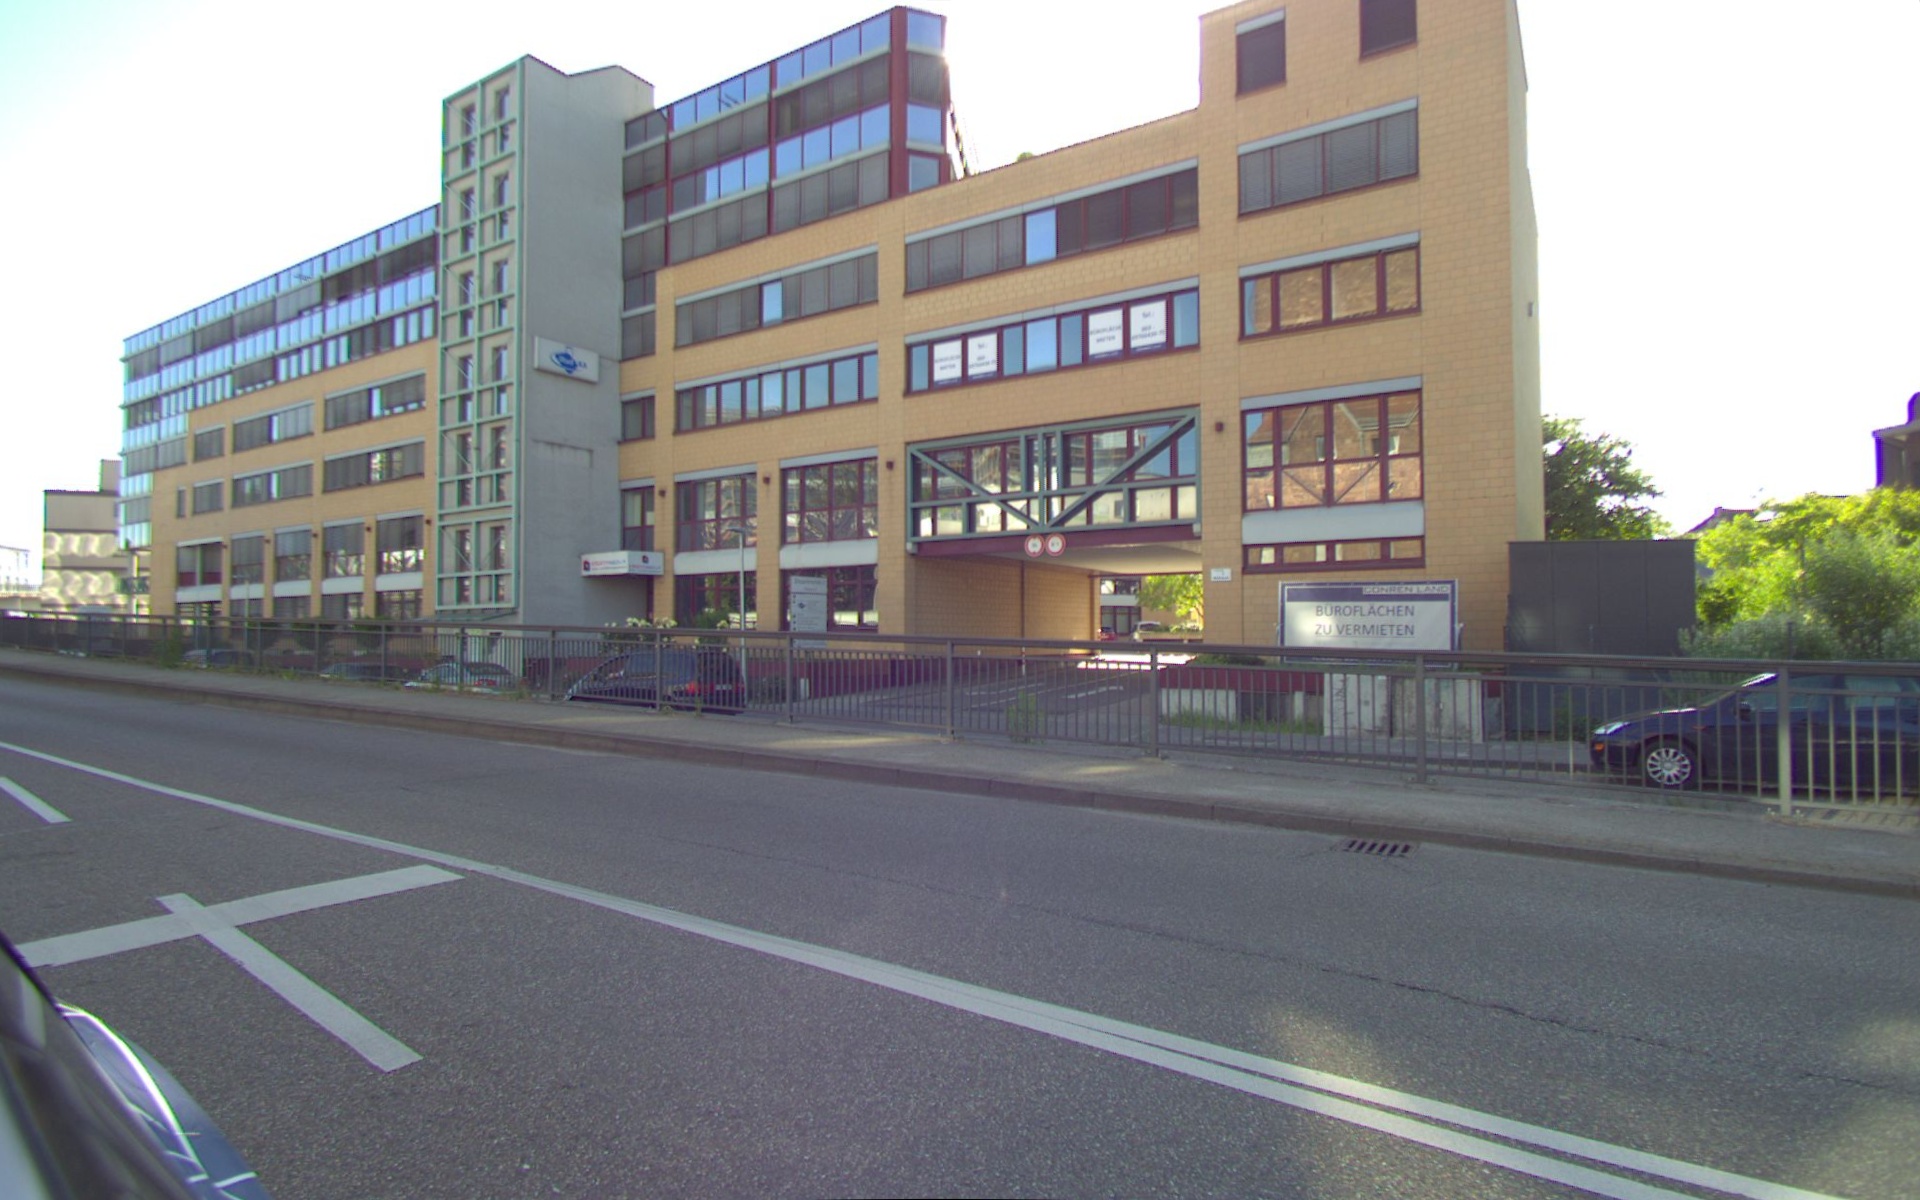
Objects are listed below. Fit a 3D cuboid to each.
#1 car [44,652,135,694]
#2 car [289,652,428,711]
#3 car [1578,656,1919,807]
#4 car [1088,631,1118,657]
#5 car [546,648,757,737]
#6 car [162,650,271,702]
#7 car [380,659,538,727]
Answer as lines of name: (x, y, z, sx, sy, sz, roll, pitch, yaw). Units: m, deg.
car: (-36.387, 3.006, 42.280, 3.992, 1.675, 1.975, -2, -3, 36)
car: (-17.907, 2.372, 30.076, 4.344, 1.616, 1.805, -2, -3, 33)
car: (9.760, 1.415, 11.577, 4.442, 1.515, 1.804, -2, -3, 36)
car: (8.968, 2.776, 63.671, 1.622, 1.586, 3.148, -1, -3, 5)
car: (-6.947, 1.975, 22.657, 4.672, 1.771, 1.936, -2, -2, 32)
car: (-26.339, 2.632, 35.804, 3.992, 1.737, 1.975, -2, -3, 36)
car: (-13.341, 2.394, 26.895, 4.344, 1.616, 1.805, -2, -3, 33)
